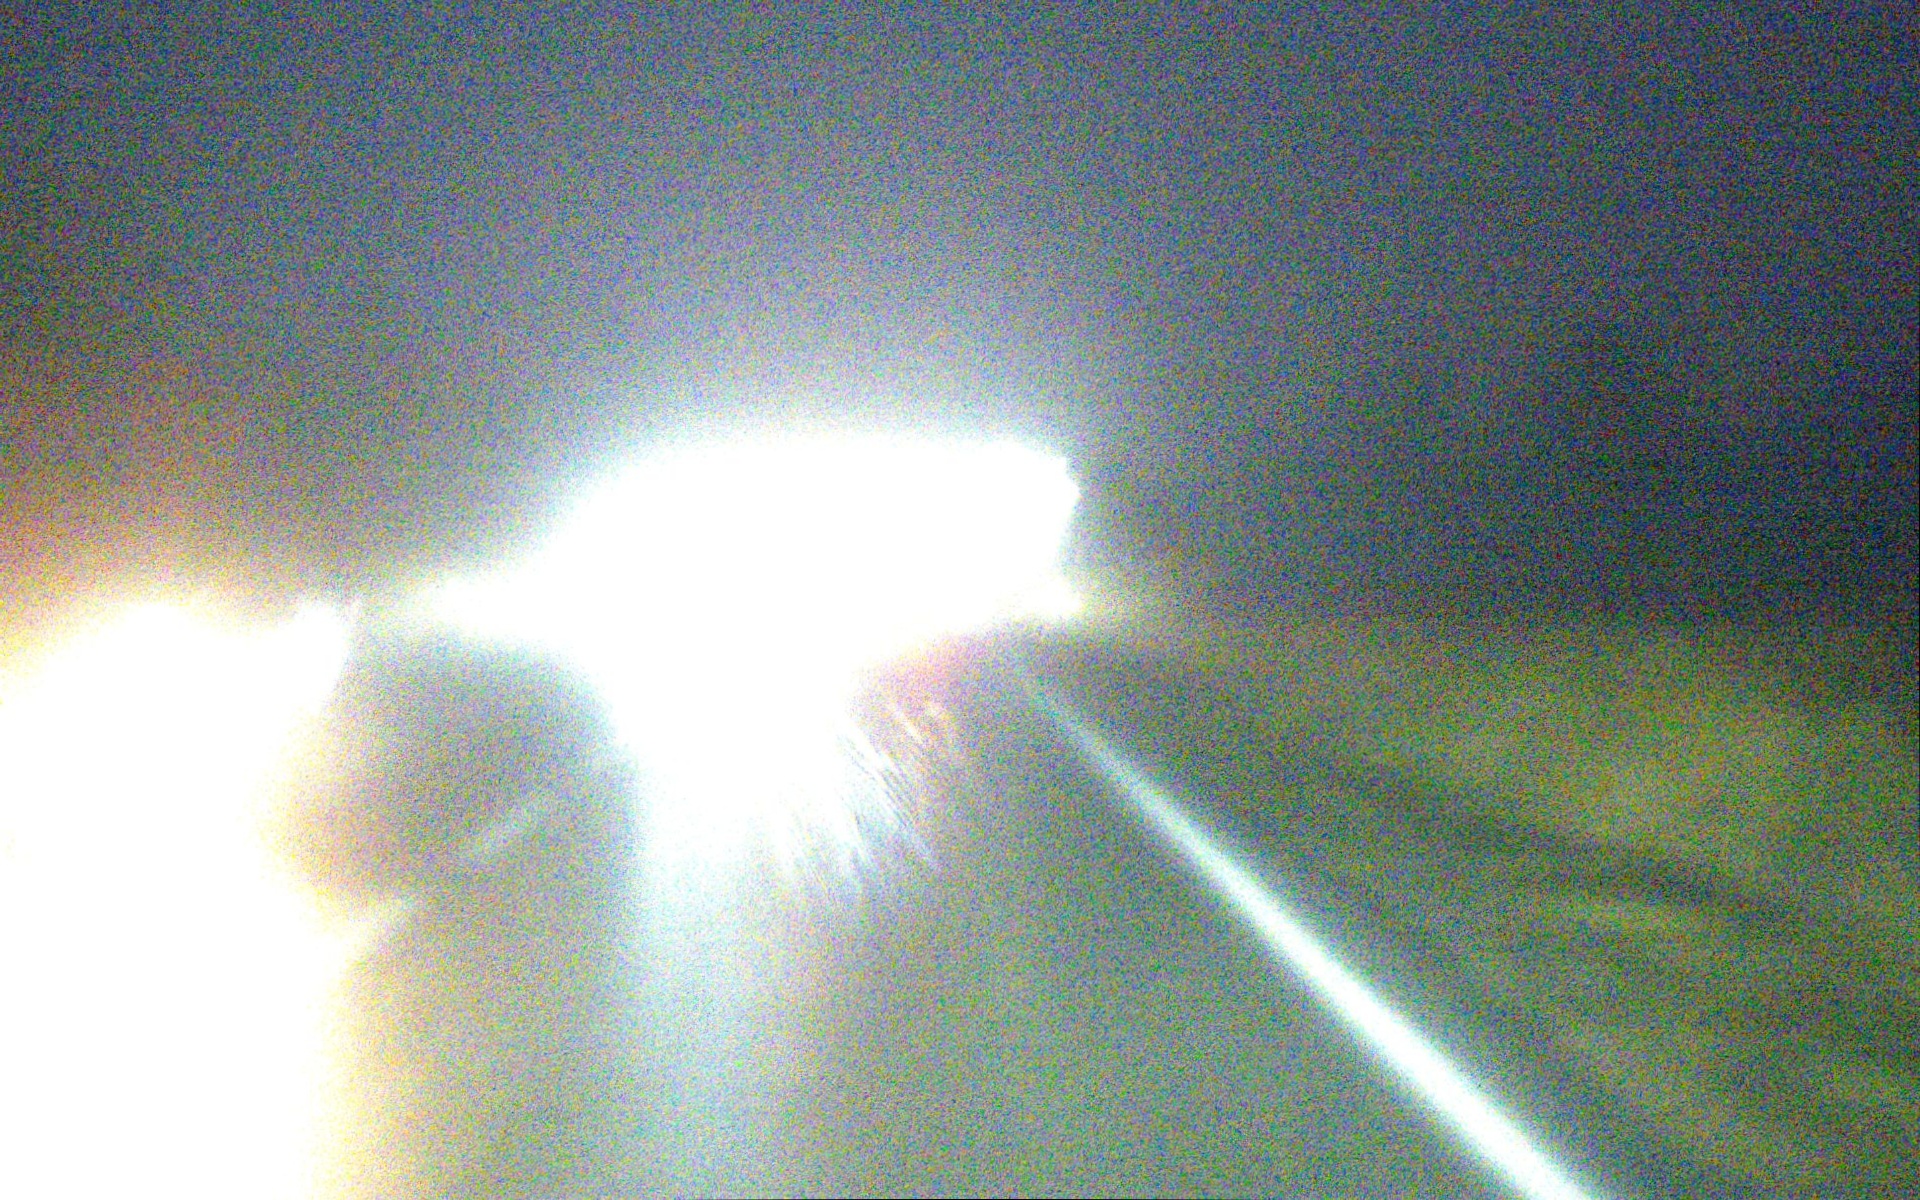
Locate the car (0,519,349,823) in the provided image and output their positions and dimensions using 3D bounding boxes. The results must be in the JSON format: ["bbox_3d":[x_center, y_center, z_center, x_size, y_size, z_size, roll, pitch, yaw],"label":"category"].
[{"bbox_3d":[-4.805,0.340,19.548,1.993,1.543,4.000,1,1,-1],"label":"car"}]

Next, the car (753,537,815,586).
[{"bbox_3d":[-6.214,-1.353,121.568,1.993,1.655,4.000,2,1,-1],"label":"car"}]

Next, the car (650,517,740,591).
[{"bbox_3d":[-6.426,-1.104,82.978,1.993,1.655,4.001,2,0,-6],"label":"car"}]

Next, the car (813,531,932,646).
[{"bbox_3d":[-1.438,-0.228,57.685,1.842,1.734,4.001,2,2,0],"label":"car"}]
